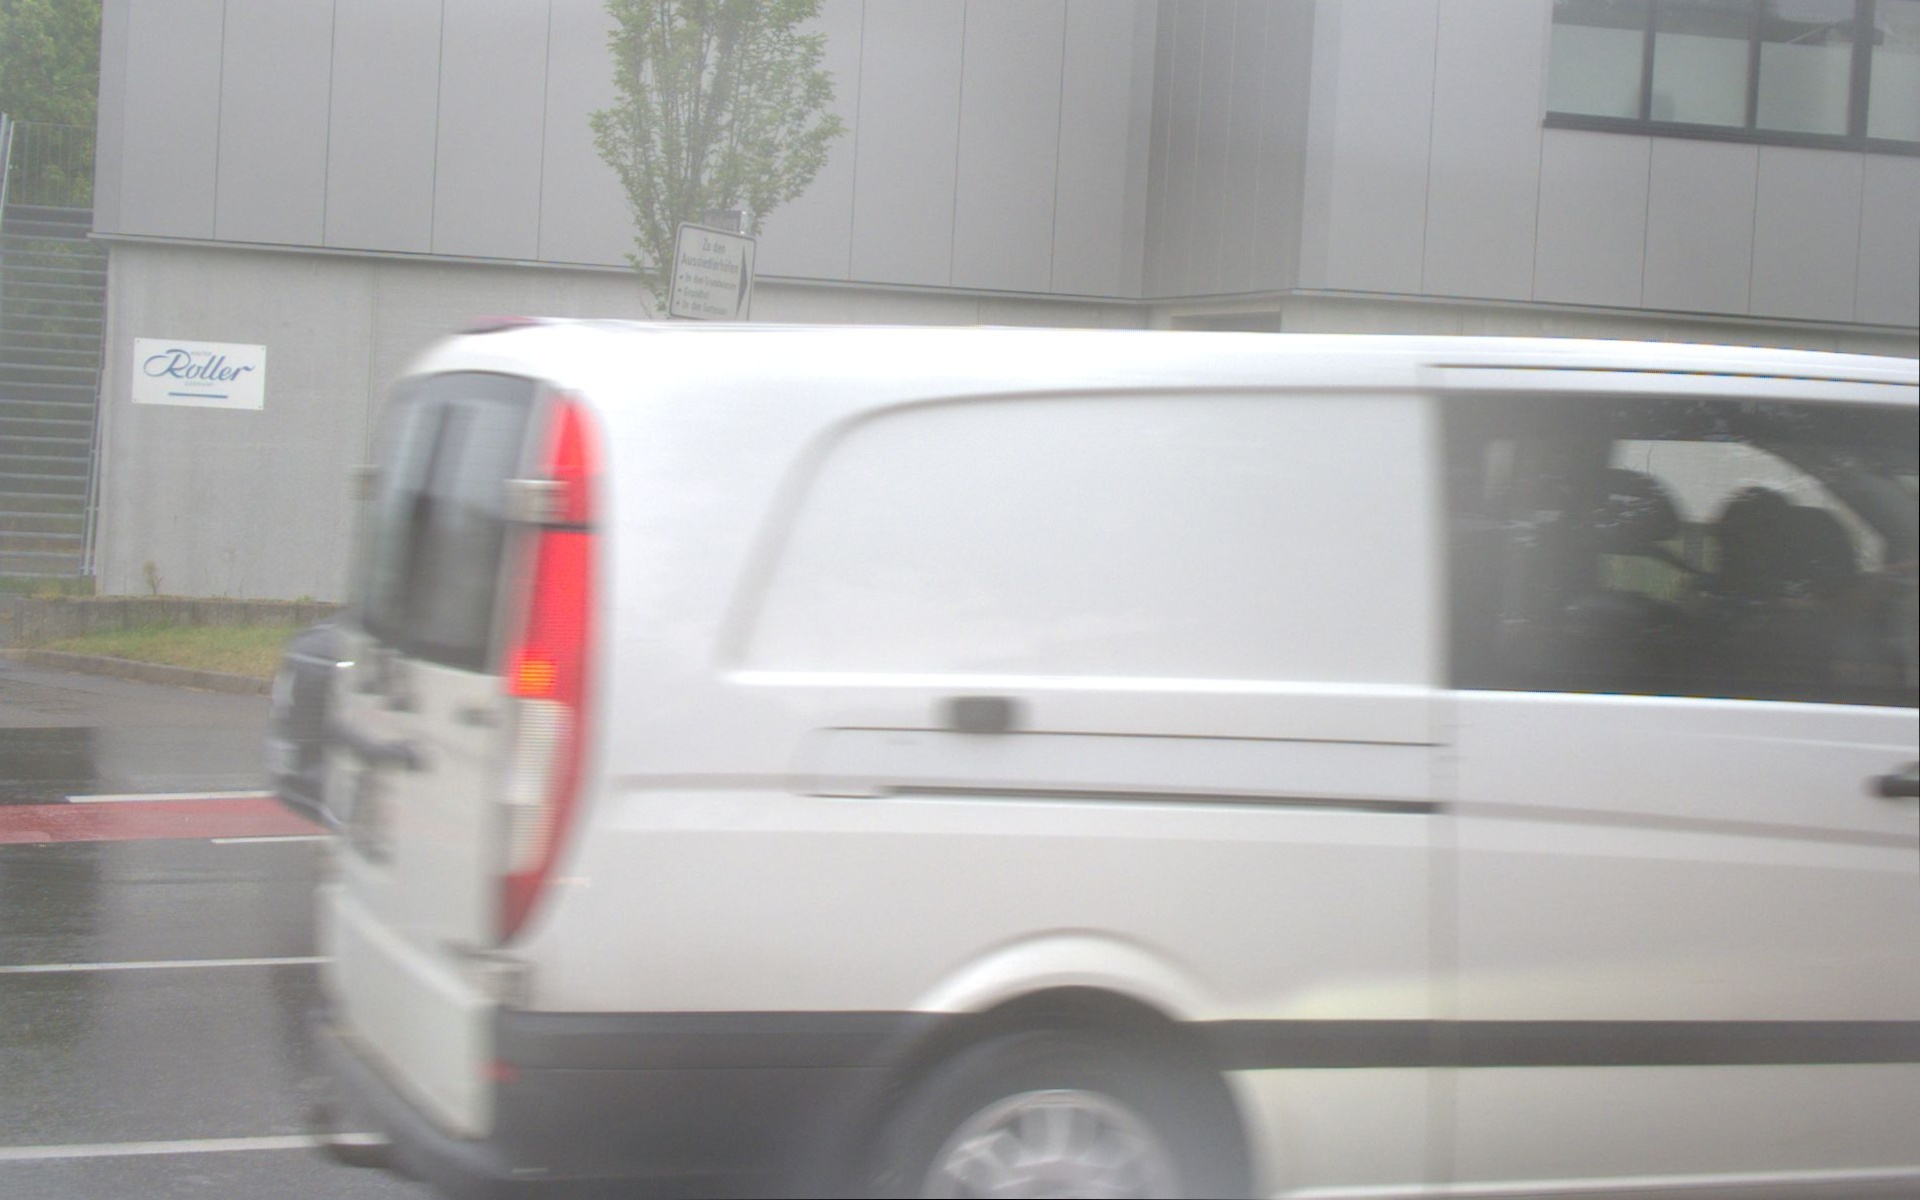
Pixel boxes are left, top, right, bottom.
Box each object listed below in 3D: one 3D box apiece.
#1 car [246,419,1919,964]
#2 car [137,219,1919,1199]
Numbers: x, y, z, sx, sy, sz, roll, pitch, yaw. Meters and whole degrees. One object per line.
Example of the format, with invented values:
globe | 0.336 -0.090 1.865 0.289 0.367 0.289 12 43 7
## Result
car | 0.810 0.298 13.672 6.853 1.809 2.363 1 2 -20
car | 1.185 0.427 7.001 5.353 2.011 1.906 1 2 -20
